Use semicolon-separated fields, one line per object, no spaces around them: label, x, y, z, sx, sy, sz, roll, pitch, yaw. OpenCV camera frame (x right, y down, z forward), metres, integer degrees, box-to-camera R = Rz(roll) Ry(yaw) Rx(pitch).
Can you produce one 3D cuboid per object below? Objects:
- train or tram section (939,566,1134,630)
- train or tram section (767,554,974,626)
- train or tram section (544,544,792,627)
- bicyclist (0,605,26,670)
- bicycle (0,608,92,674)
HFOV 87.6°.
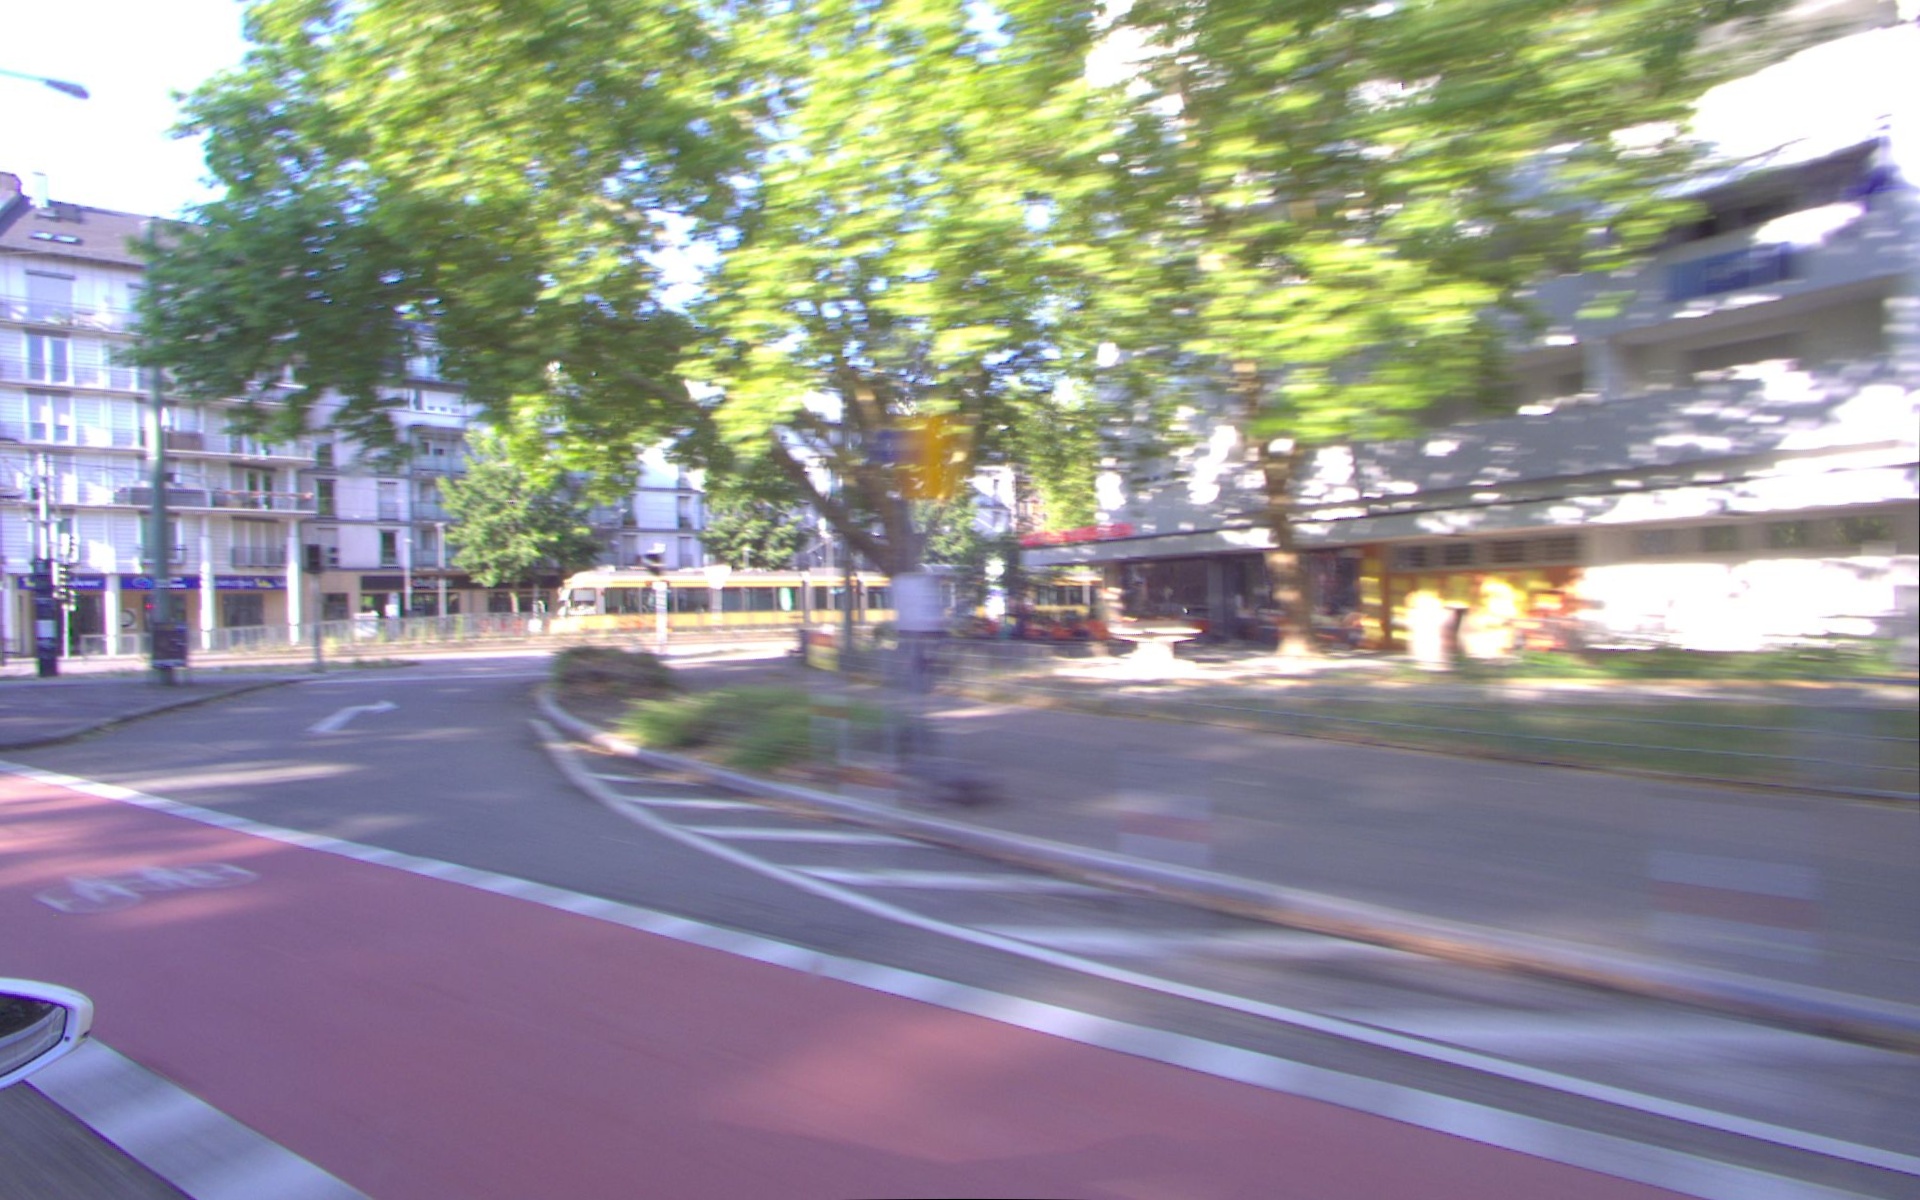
train or tram section;5.242;0.051;65.036;13.836;3.685;3.394;2;-3;-37
train or tram section;-4.945;-0.409;57.450;11.675;3.685;3.397;1;-3;-34
train or tram section;-14.622;-0.528;50.890;11.673;3.685;3.398;1;-3;-33
bicyclist;-24.829;0.978;25.980;0.924;1.677;0.798;-2;-3;43
bicycle;-24.635;1.075;26.211;0.822;1.677;2.827;-2;-3;43
